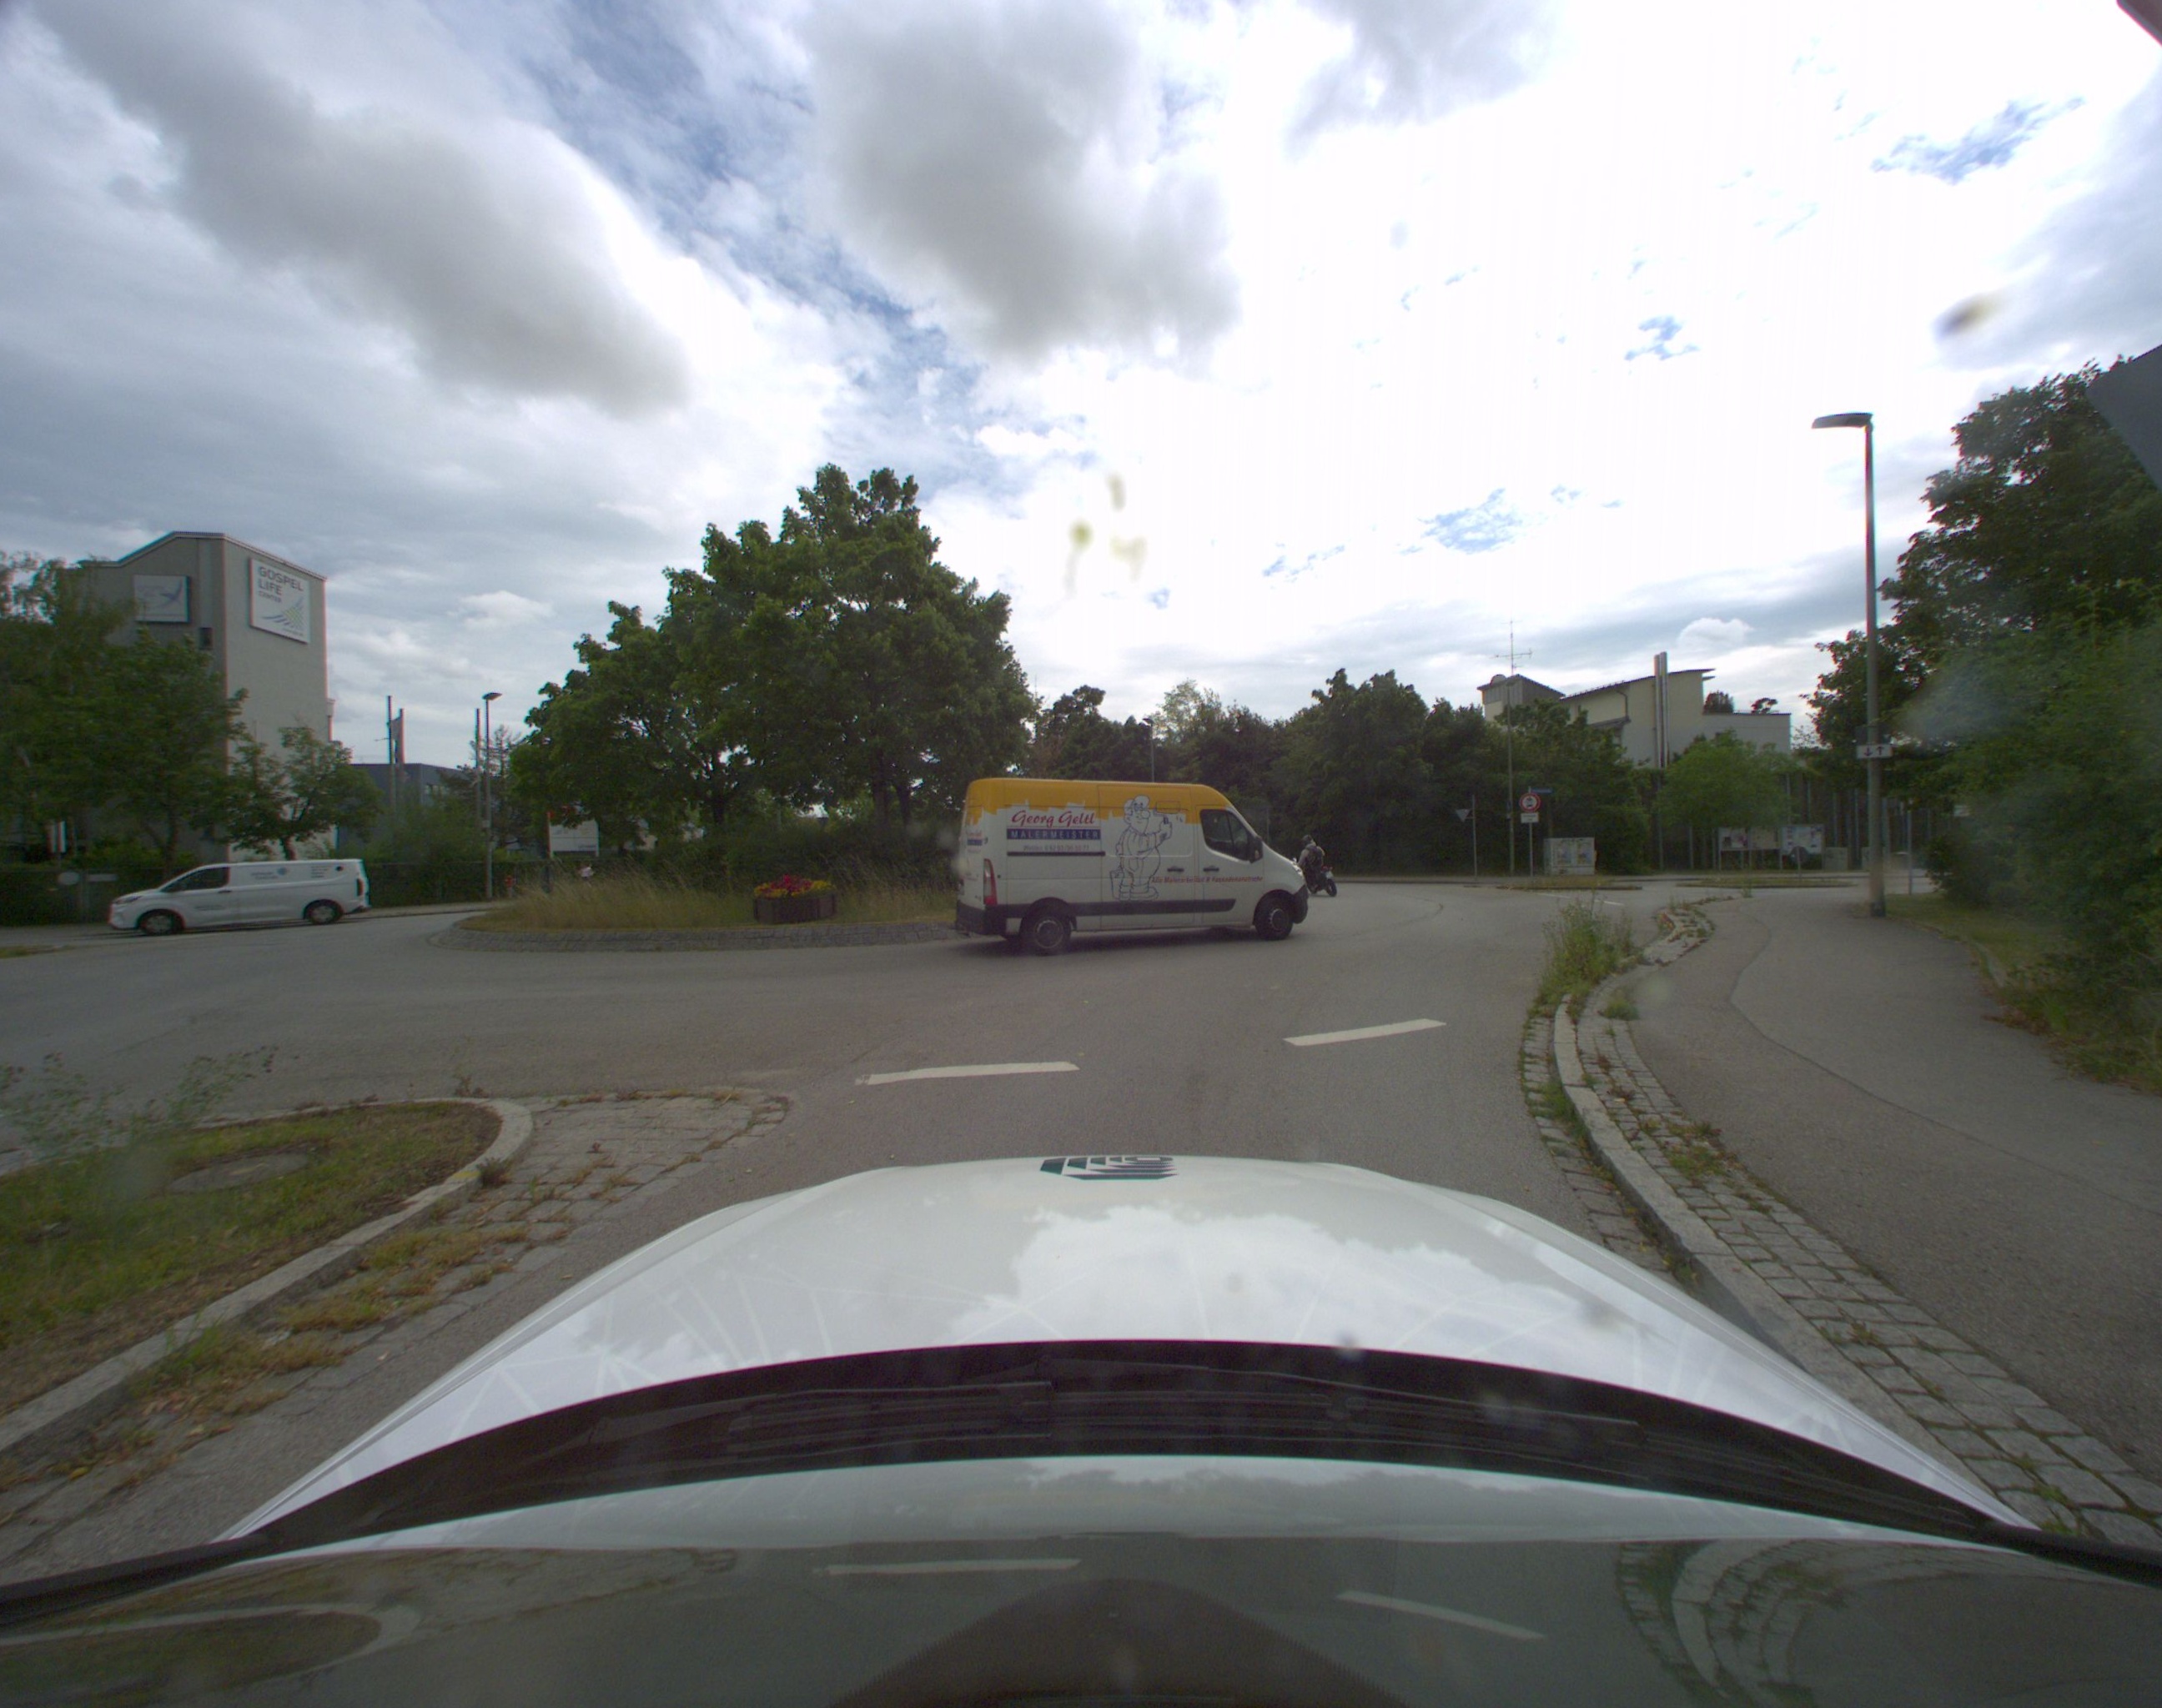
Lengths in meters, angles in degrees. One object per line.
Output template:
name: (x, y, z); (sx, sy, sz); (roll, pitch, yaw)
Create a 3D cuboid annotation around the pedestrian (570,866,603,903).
pedestrian: (-20.402, 1.265, 33.628); (0.626, 1.468, 0.953); (-2, 0, 14)

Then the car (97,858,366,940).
car: (-23.993, 1.179, 23.390); (5.099, 1.905, 1.976); (-3, 1, -40)

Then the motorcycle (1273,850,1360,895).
motorcycle: (6.449, 0.486, 22.477); (0.900, 1.158, 2.601); (-1, 0, -22)

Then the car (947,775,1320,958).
car: (0.801, 0.093, 12.789); (5.440, 2.451, 2.156); (-1, 1, -19)

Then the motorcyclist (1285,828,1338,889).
motorcyclist: (6.391, 0.115, 22.623); (0.864, 1.623, 1.182); (-1, 0, -22)
